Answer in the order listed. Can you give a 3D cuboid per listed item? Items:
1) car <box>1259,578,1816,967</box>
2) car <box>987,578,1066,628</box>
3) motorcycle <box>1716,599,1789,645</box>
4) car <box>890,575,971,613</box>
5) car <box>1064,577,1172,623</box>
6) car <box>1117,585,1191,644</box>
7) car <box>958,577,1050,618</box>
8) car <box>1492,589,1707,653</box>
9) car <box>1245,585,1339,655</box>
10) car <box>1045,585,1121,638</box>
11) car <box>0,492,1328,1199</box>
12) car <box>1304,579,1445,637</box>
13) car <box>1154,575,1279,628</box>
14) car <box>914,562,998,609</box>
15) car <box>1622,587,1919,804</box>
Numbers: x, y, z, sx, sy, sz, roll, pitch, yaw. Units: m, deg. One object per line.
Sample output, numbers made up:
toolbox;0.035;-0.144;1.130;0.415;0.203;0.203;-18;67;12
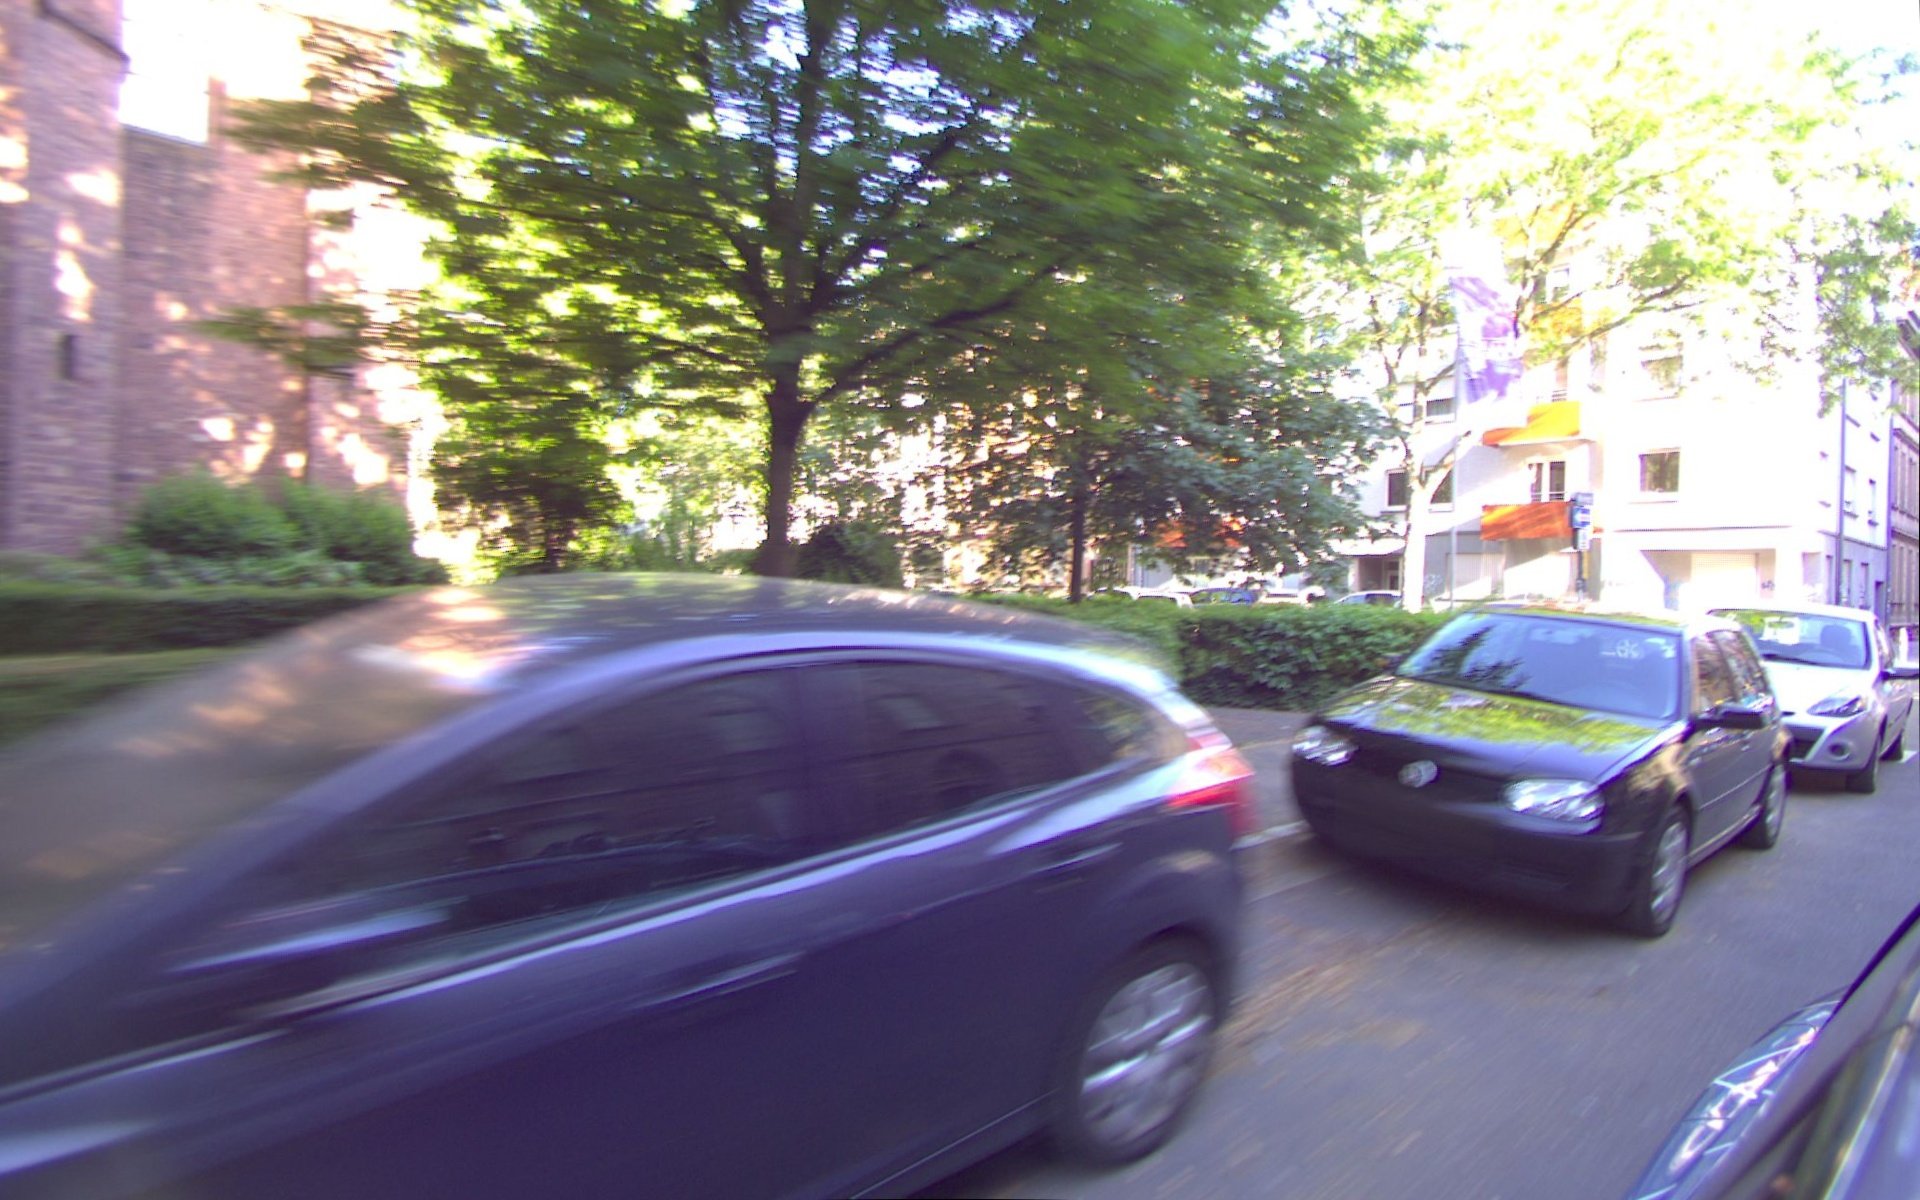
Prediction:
car;3.520;0.632;5.833;3.935;1.454;1.624;-1;3;-42
car;2.154;0.041;31.655;1.756;1.449;4.398;0;1;14
motorcycle;21.049;0.564;26.882;1.467;1.131;0.894;2;1;43
car;-1.404;-0.313;47.289;1.622;1.598;3.997;-3;3;-41
car;5.977;-0.055;38.638;1.622;1.598;3.997;-3;3;-41
car;5.368;0.331;27.663;1.756;1.449;4.398;0;1;14
car;1.839;-0.156;43.464;1.622;1.598;3.997;-3;3;-41
car;16.442;0.474;26.198;1.751;1.449;4.409;0;1;-41
car;7.730;0.398;23.899;1.756;1.449;4.398;0;1;14
car;3.777;0.287;30.383;1.756;1.449;4.398;0;1;14
car;-1.023;0.595;2.362;3.988;1.537;1.669;-1;6;-40
car;12.607;0.183;30.911;1.622;1.577;3.692;-3;3;-41
car;8.838;0.001;35.111;1.622;1.636;4.033;-3;3;-41
car;-0.063;-0.490;33.442;1.756;1.449;4.398;0;1;14
car;7.714;0.682;9.389;3.766;1.538;1.712;-1;3;-42
